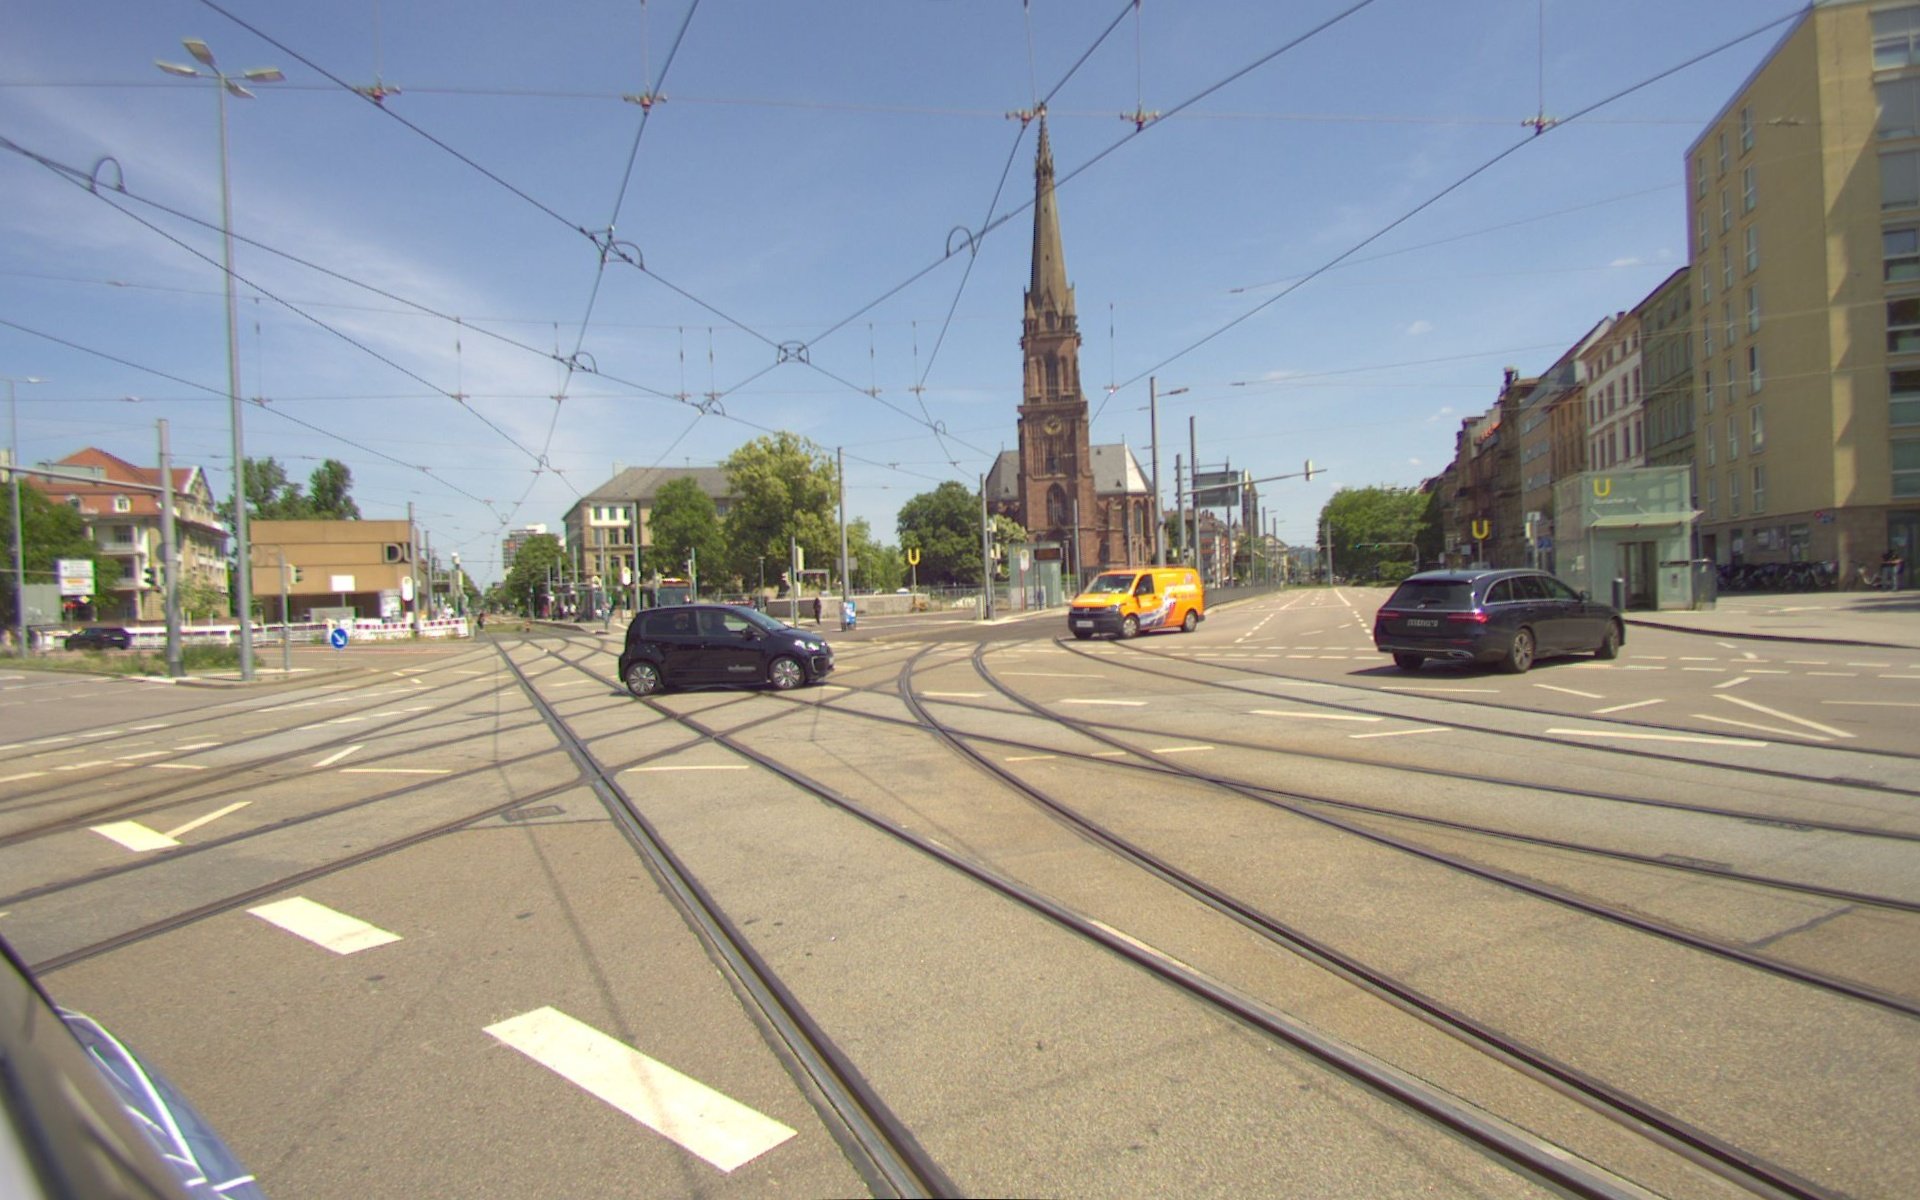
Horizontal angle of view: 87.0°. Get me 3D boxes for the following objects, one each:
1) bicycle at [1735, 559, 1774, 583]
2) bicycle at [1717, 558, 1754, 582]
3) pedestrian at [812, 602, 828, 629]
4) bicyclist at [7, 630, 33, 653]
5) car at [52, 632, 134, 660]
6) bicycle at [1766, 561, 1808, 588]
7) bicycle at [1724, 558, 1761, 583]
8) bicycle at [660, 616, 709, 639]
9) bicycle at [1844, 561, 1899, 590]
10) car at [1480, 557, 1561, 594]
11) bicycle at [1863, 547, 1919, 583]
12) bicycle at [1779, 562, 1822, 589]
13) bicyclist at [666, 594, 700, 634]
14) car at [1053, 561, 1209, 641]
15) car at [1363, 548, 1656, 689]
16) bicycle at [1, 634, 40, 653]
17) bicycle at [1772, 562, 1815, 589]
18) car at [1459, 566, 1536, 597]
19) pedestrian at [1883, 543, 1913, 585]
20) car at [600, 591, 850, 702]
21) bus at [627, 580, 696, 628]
[{"bbox_3d":[35.792,-1.301,45.597,1.421,1.034,0.433,-3,0,-6],"label":"bicycle"},{"bbox_3d":[36.143,-1.387,47.168,1.421,1.034,0.433,-3,0,-6],"label":"bicycle"},{"bbox_3d":[-7.269,0.813,52.446,0.518,1.344,1.001,-3,0,-21],"label":"pedestrian"},{"bbox_3d":[-58.991,2.604,63.500,1.430,1.365,0.582,-2,2,23],"label":"bicyclist"},{"bbox_3d":[-53.096,2.802,61.983,4.818,1.476,1.983,-3,0,25],"label":"car"},{"bbox_3d":[34.065,-1.035,41.678,1.421,1.034,0.433,-3,0,-6],"label":"bicycle"},{"bbox_3d":[36.052,-1.360,46.637,1.421,1.034,0.433,-3,0,-6],"label":"bicycle"},{"bbox_3d":[-11.362,1.135,41.797,0.628,0.861,1.875,-3,0,40],"label":"bicycle"},{"bbox_3d":[34.559,-0.926,38.372,1.434,1.034,0.430,-3,0,22],"label":"bicycle"},{"bbox_3d":[30.145,-1.313,54.446,3.931,1.763,1.844,-3,0,-27],"label":"car"},{"bbox_3d":[34.270,-1.285,37.030,1.595,1.130,0.601,9,5,25],"label":"bicycle"},{"bbox_3d":[33.841,-0.983,40.754,1.421,1.034,0.433,-3,0,-6],"label":"bicycle"},{"bbox_3d":[-11.448,0.583,41.819,0.438,1.540,1.237,-1,3,40],"label":"bicyclist"},{"bbox_3d":[5.032,-0.012,29.330,2.001,2.073,4.801,-3,0,44],"label":"car"},{"bbox_3d":[8.427,0.195,15.373,4.725,1.652,1.808,-5,2,-33],"label":"car"},{"bbox_3d":[-58.936,2.713,63.486,2.217,1.080,0.872,-2,2,23],"label":"bicycle"},{"bbox_3d":[33.933,-1.008,41.204,1.421,1.034,0.433,-3,0,-6],"label":"bicycle"},{"bbox_3d":[30.269,-1.031,56.940,3.931,1.521,1.844,-3,0,-27],"label":"car"},{"bbox_3d":[34.294,-1.323,37.013,0.679,1.497,0.302,-3,0,28],"label":"pedestrian"},{"bbox_3d":[-3.901,0.765,17.115,3.694,1.588,1.745,-4,-1,8],"label":"car"},{"bbox_3d":[-21.702,0.347,73.010,2.808,3.038,12.260,-3,0,-25],"label":"bus"}]
